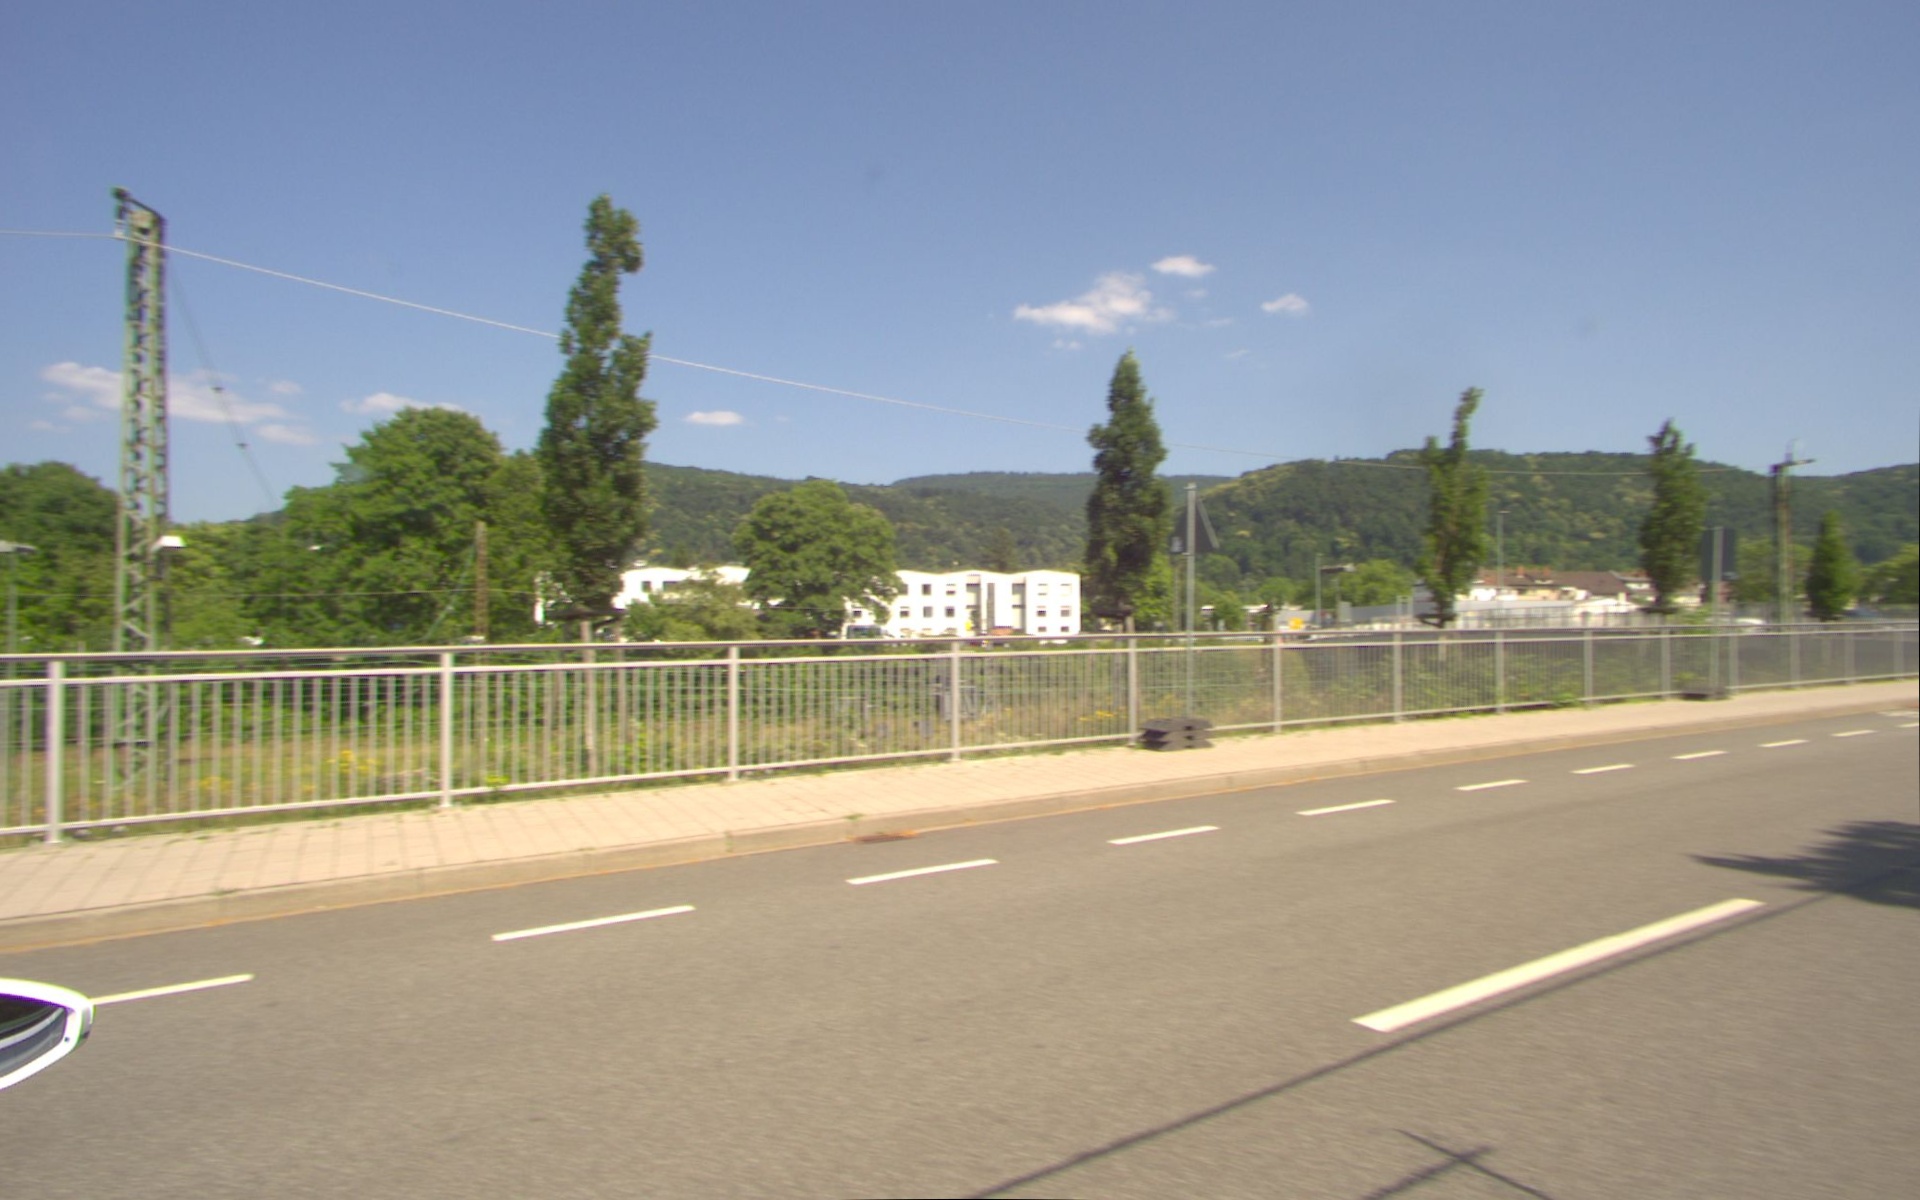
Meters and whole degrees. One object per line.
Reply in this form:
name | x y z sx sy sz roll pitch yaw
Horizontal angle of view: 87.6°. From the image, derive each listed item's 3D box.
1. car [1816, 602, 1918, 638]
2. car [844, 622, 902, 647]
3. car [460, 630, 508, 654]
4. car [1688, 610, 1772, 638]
car | 52.332 1.172 57.890 1.796 1.872 4.372 -4 -1 -1
car | -8.809 3.458 101.205 5.425 2.126 2.134 -2 -5 -21
car | -46.078 4.096 96.969 3.862 2.037 1.756 -2 -5 -14
car | 51.277 1.615 66.804 1.796 1.673 4.769 -4 -1 0
